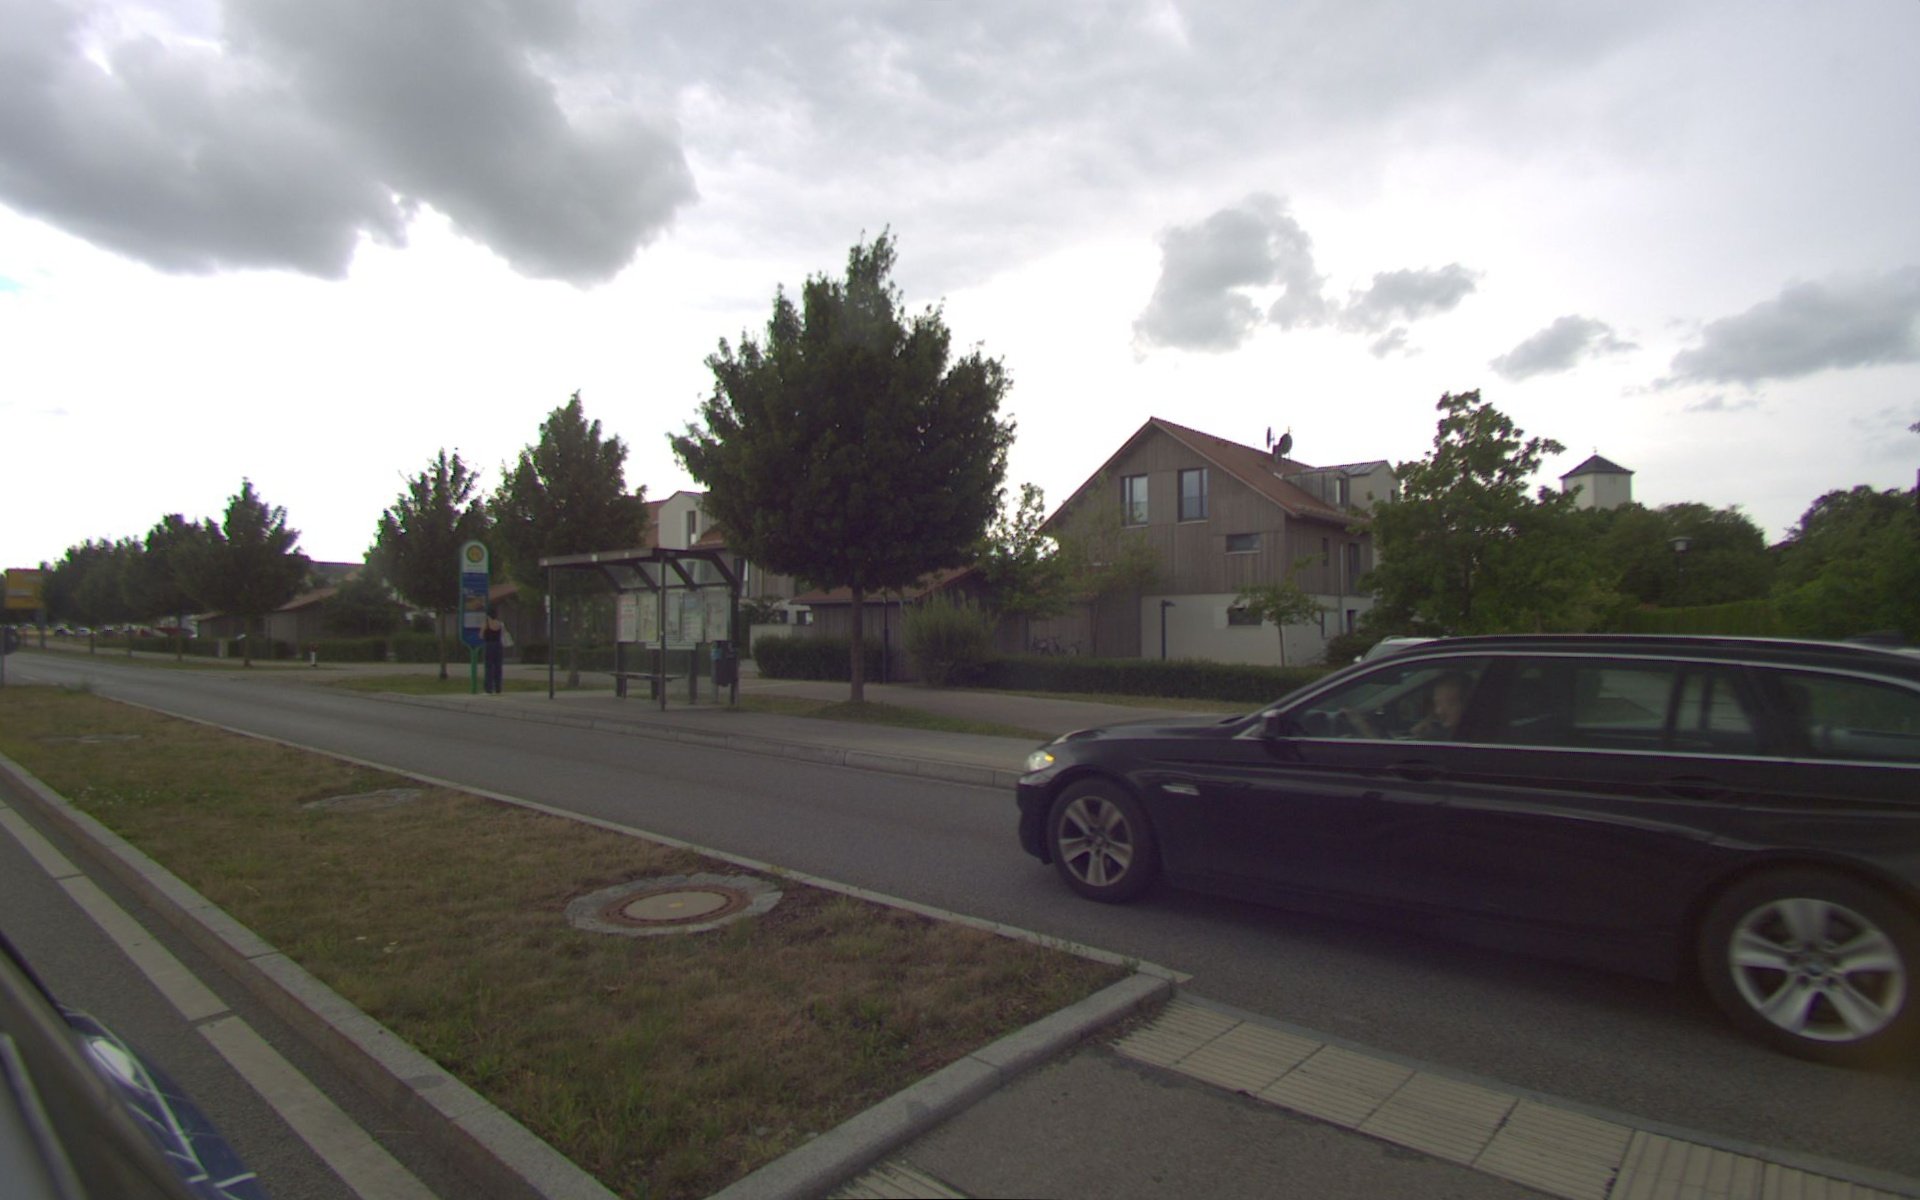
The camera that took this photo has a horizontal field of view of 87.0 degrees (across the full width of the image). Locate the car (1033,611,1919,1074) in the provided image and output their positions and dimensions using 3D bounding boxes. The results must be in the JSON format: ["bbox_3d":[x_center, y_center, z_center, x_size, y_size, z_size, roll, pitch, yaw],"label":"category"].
[{"bbox_3d":[2.708,0.812,4.774,4.494,1.465,1.900,-2,-2,41],"label":"car"}]

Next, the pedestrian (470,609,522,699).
[{"bbox_3d":[-8.743,0.996,19.062,0.812,1.649,0.582,-2,-2,40],"label":"pedestrian"}]

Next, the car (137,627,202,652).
[{"bbox_3d":[-72.420,3.576,92.741,2.001,2.029,4.507,-1,0,45],"label":"car"}]

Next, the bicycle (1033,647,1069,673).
[{"bbox_3d":[3.524,2.295,39.023,0.419,0.916,1.922,-2,-2,38],"label":"bicycle"}]

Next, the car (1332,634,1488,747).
[{"bbox_3d":[9.299,1.739,20.757,1.997,2.029,3.949,-1,-2,38],"label":"car"}]

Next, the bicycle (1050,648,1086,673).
[{"bbox_3d":[4.113,2.288,38.498,0.419,0.916,1.922,-2,-2,38],"label":"bicycle"}]
